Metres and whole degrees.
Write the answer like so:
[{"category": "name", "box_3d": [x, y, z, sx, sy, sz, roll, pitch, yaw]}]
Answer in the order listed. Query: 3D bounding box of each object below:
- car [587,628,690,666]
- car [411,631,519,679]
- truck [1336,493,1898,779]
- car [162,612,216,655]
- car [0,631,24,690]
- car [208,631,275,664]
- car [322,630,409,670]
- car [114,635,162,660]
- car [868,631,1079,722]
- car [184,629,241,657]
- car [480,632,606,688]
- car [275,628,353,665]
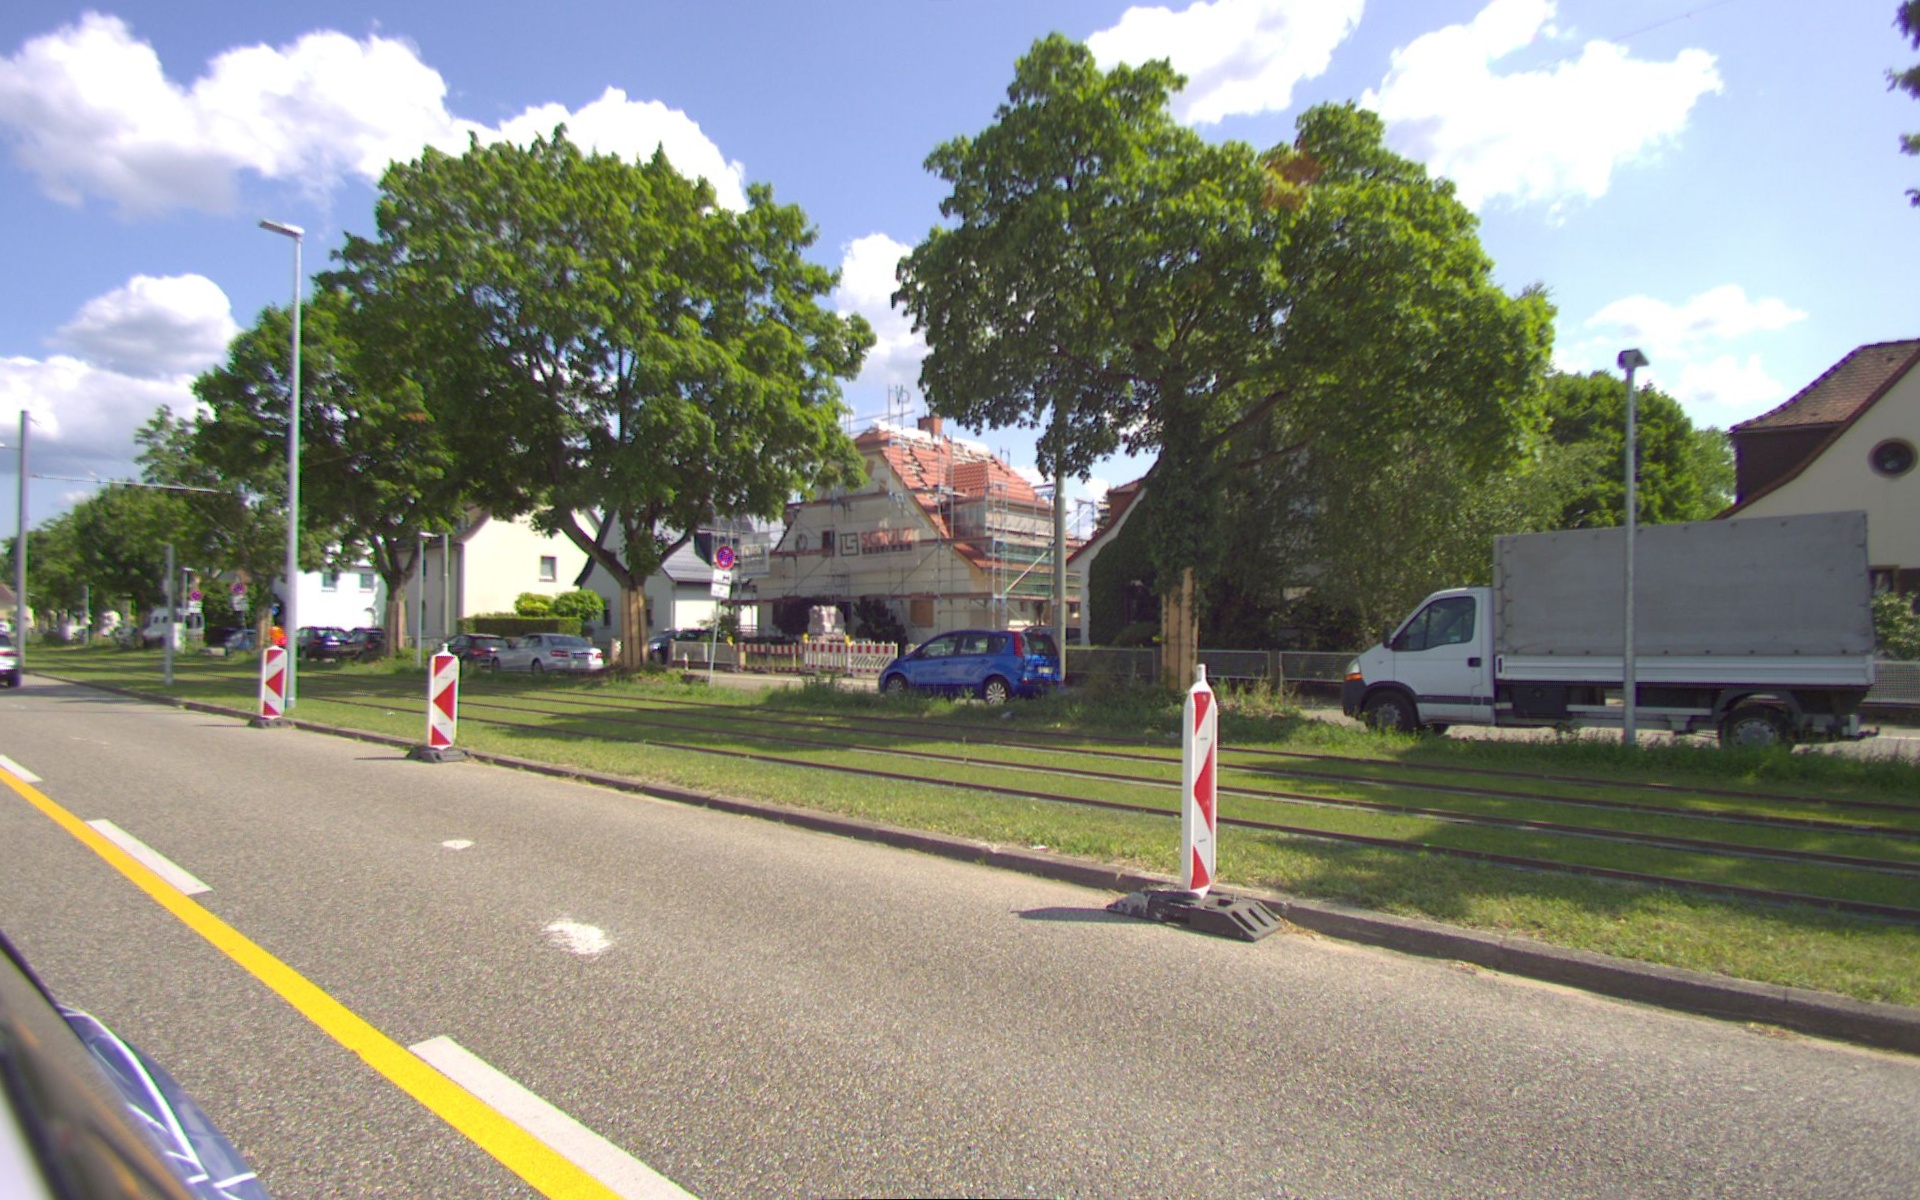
[{"category": "car", "box_3d": [-14.084, 2.046, 44.511, 1.756, 1.623, 3.995, -2, -3, 41]}, {"category": "car", "box_3d": [-17.615, 1.914, 35.935, 4.603, 1.623, 1.733, -2, -3, 40]}, {"category": "truck", "box_3d": [8.274, 0.464, 13.360, 5.871, 3.010, 1.982, -2, -3, 41]}, {"category": "car", "box_3d": [-48.842, 2.107, 64.105, 4.603, 2.636, 1.733, -2, -3, 40]}, {"category": "car", "box_3d": [-25.218, 1.509, 25.598, 4.258, 1.424, 1.733, -2, -3, 40]}, {"category": "car", "box_3d": [-37.647, 2.468, 52.982, 4.603, 1.623, 1.733, -2, -3, 40]}, {"category": "car", "box_3d": [-25.185, 2.073, 42.830, 4.603, 1.623, 1.733, -2, -3, 40]}, {"category": "car", "box_3d": [-57.025, 3.268, 70.152, 4.603, 1.623, 1.733, -2, -3, 40]}, {"category": "car", "box_3d": [0.200, 1.442, 20.176, 4.047, 1.623, 1.733, -2, -3, 40]}, {"category": "car", "box_3d": [-44.648, 2.553, 60.407, 4.603, 1.623, 1.733, -2, -3, 40]}, {"category": "car", "box_3d": [-13.174, 1.830, 31.864, 4.603, 1.623, 1.733, -2, -3, 40]}, {"category": "car", "box_3d": [-29.604, 2.098, 46.334, 4.603, 1.623, 1.733, -2, -3, 40]}]
